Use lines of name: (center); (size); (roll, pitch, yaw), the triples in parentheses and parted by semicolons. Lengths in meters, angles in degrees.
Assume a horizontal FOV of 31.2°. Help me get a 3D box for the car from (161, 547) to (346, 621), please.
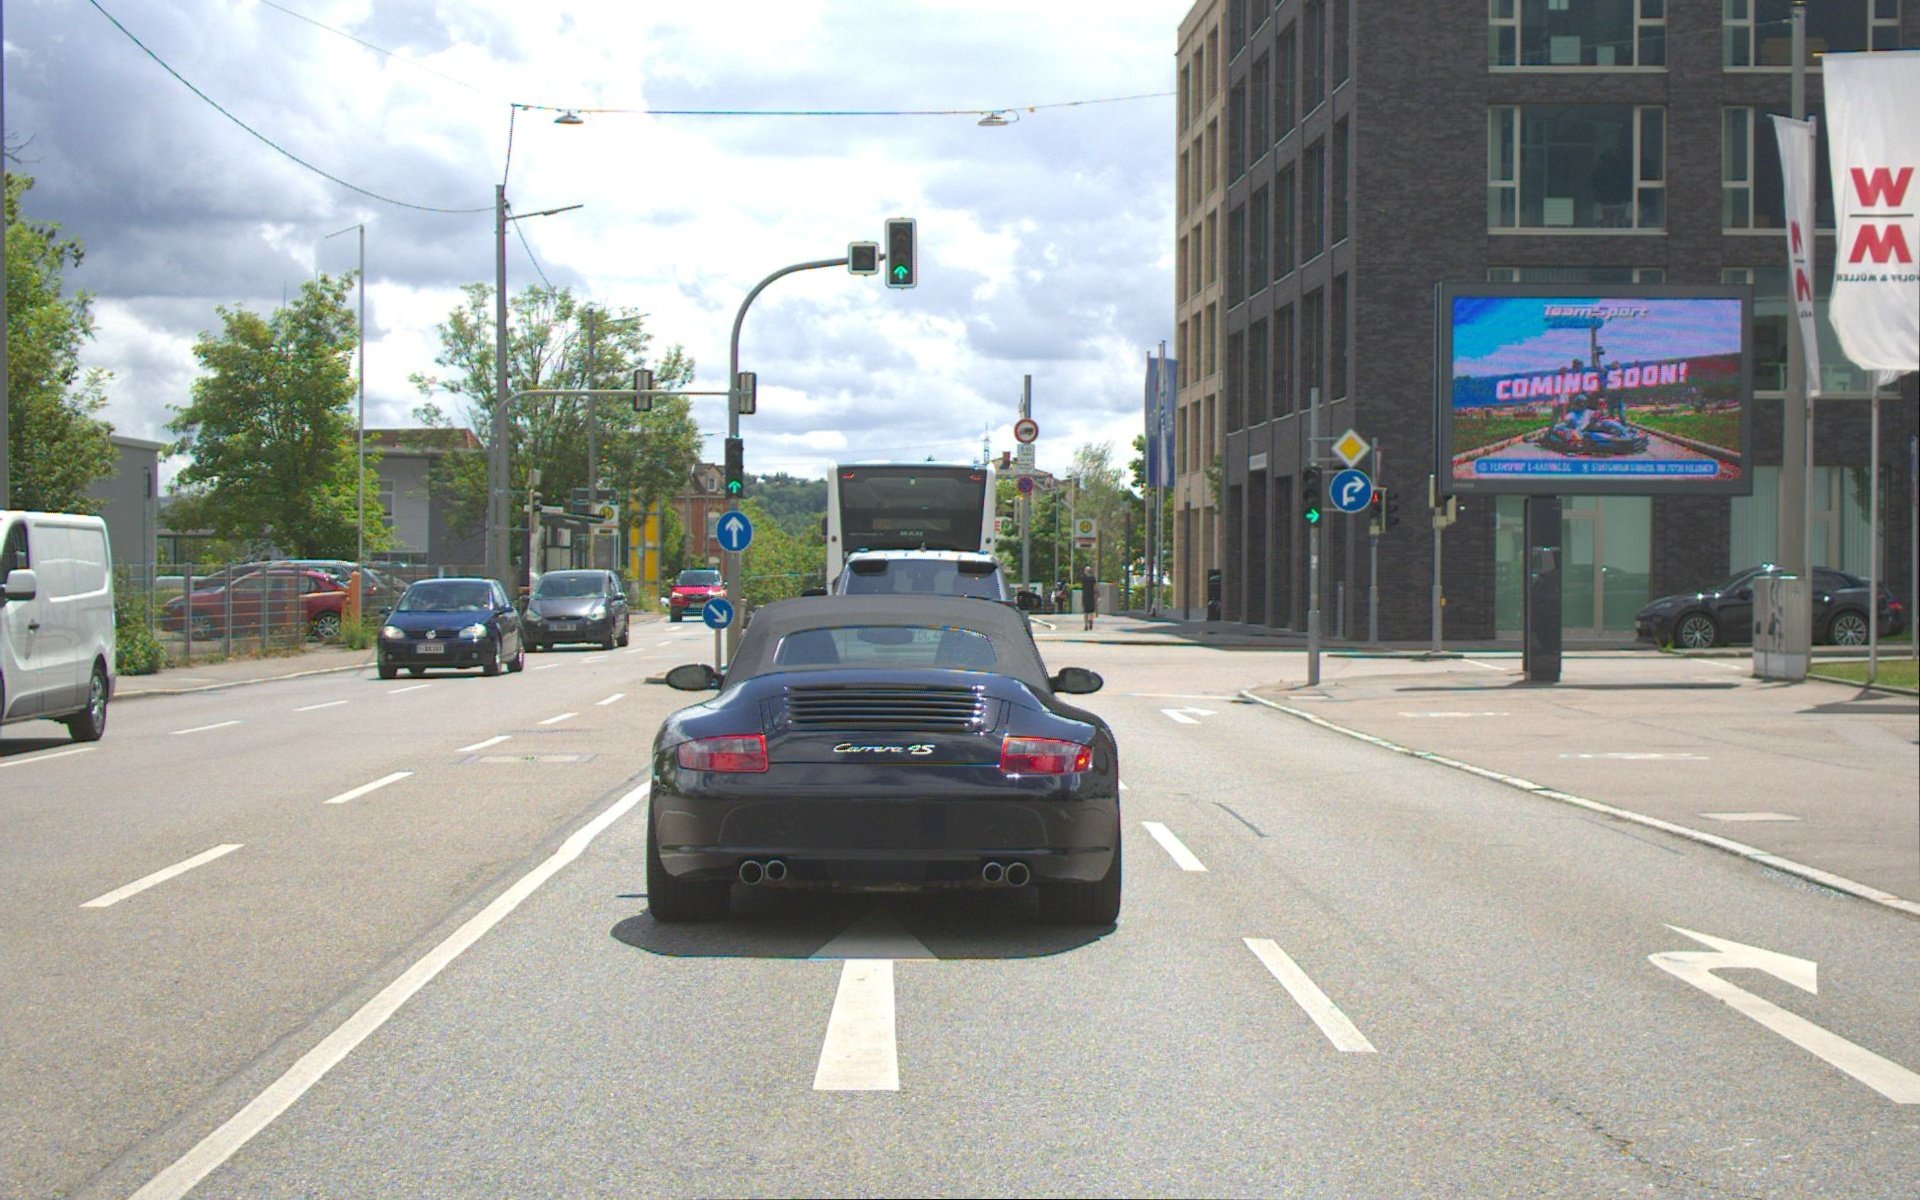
car: (-14.965, -0.347, 73.008); (3.789, 1.542, 1.669); (0, 1, -10)

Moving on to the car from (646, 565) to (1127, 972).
car: (-0.332, 0.597, 14.555); (1.719, 1.270, 4.089); (1, 3, -2)

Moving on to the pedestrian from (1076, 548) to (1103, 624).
pedestrian: (3.460, -0.376, 91.819); (0.666, 2.007, 0.769); (0, 1, -2)

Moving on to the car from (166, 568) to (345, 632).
car: (-14.275, 0.004, 69.791); (3.511, 1.259, 1.390); (0, 1, -10)

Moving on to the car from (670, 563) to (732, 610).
car: (-8.083, -0.428, 107.577); (1.662, 1.411, 3.803); (0, 1, -1)

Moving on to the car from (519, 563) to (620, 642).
car: (-7.964, 0.032, 70.313); (1.662, 1.542, 3.803); (0, 1, -1)

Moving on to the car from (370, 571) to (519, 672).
car: (-7.612, 0.294, 51.013); (1.662, 1.411, 3.803); (0, 1, -1)

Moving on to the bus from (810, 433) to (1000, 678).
bus: (-0.833, -0.944, 56.871); (2.689, 3.244, 12.060); (2, 4, 0)

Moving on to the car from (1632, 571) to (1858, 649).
car: (14.861, 0.177, 65.214); (3.929, 1.426, 1.474); (0, 1, -1)

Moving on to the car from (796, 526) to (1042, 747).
car: (-0.428, 0.252, 29.688); (1.879, 1.588, 4.231); (2, 3, -3)

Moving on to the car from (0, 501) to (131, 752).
car: (-8.178, 0.197, 27.397); (1.901, 1.880, 5.313); (-1, 1, -1)

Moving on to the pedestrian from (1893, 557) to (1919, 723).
pedestrian: (9.918, 0.399, 34.880); (0.670, 1.655, 0.742); (0, 1, -2)
